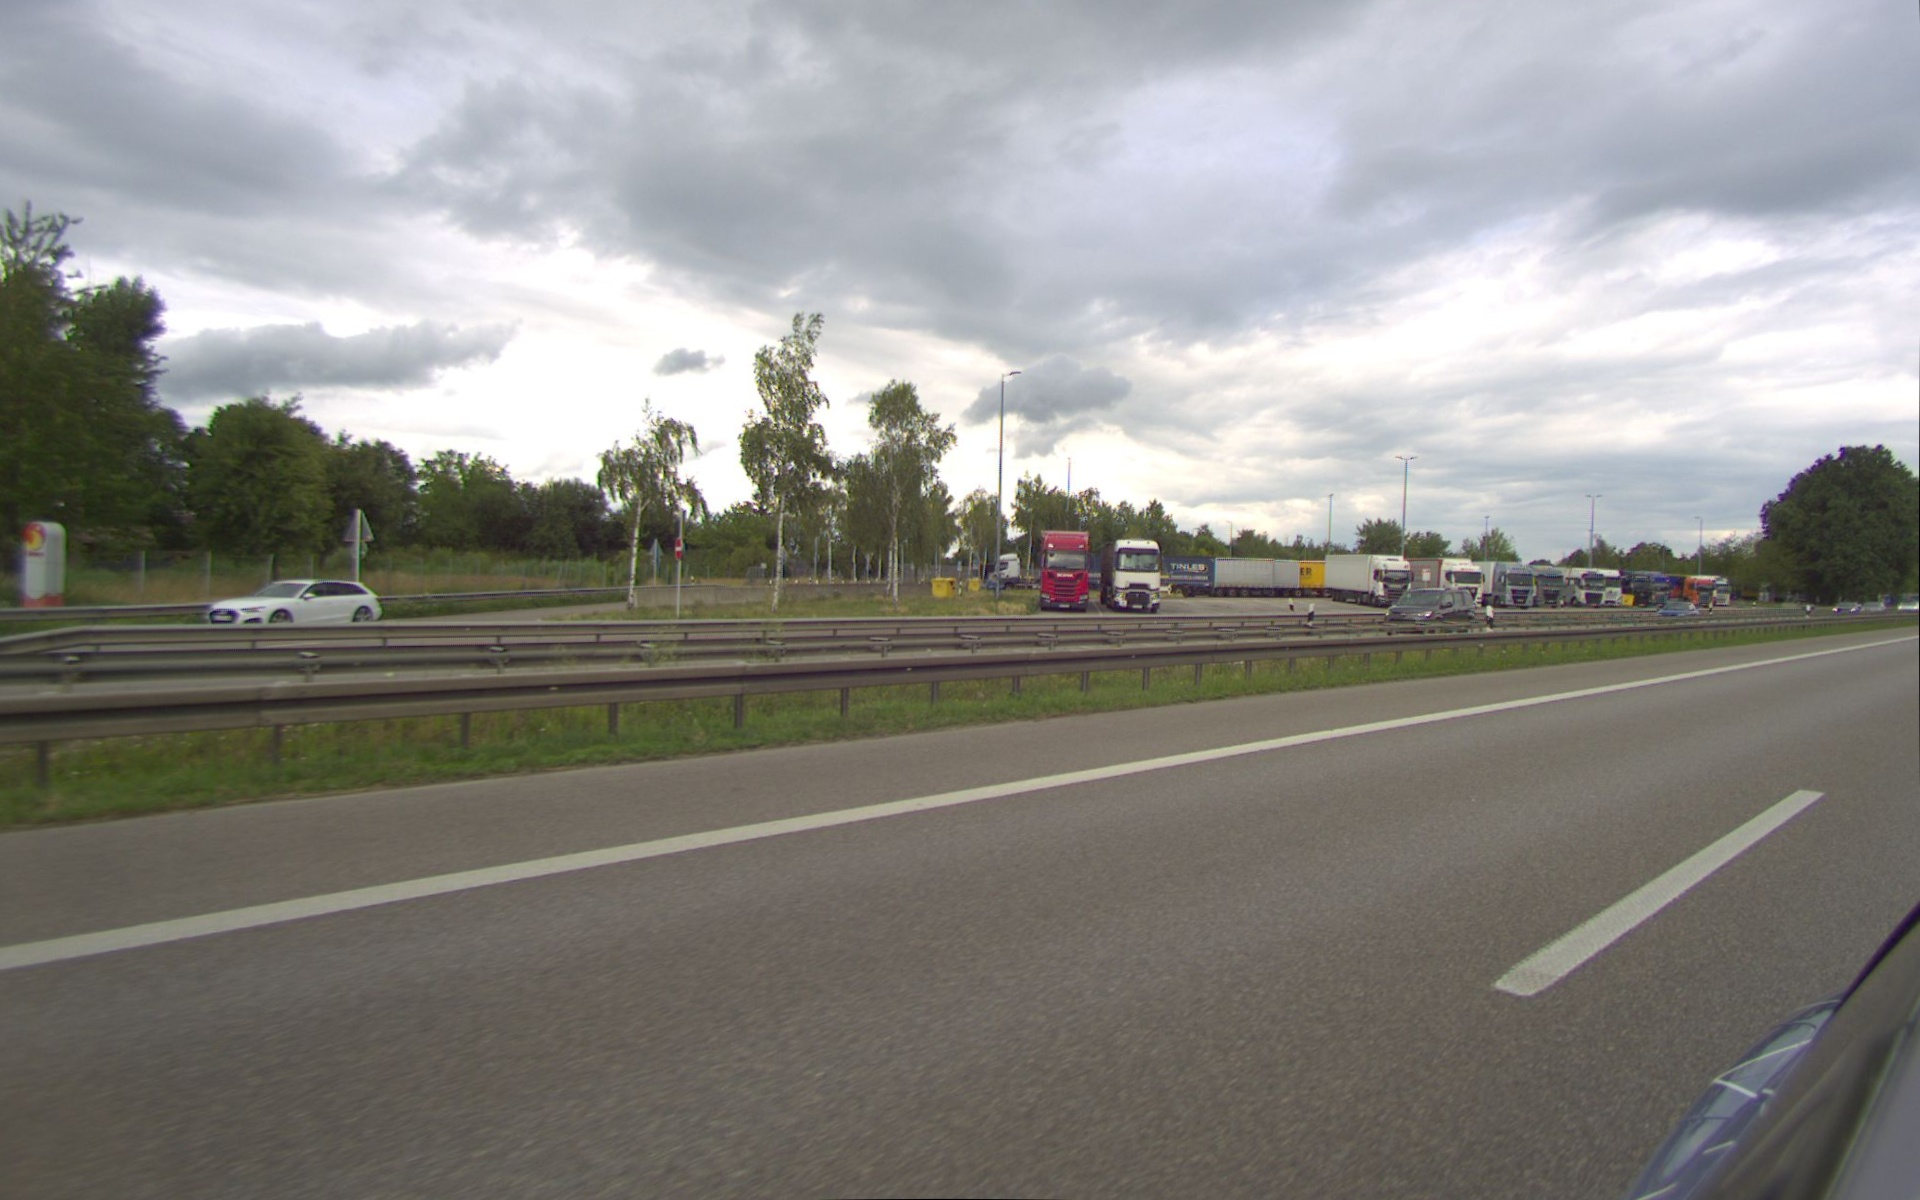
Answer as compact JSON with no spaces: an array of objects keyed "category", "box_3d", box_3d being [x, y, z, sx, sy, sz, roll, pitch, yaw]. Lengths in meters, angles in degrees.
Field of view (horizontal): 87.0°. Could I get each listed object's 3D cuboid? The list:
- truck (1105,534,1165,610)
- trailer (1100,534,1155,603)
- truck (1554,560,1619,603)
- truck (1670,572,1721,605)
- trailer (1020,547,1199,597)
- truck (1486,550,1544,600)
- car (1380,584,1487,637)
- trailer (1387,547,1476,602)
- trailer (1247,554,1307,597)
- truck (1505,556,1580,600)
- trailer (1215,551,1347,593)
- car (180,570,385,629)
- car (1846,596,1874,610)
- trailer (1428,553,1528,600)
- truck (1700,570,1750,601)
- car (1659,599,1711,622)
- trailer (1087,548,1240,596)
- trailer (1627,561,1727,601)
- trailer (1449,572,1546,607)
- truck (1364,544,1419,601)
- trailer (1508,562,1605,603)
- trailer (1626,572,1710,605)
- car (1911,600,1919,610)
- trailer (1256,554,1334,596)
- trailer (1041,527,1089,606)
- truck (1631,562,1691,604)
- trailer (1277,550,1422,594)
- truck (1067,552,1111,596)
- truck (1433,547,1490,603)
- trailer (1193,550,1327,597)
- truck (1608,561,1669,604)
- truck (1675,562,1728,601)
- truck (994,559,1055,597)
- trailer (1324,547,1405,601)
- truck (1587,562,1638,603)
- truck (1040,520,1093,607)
[{"category":"truck","box_3d":[9.454,-1.513,55.261,2.709,3.898,6.384,1,1,6]},{"category":"trailer","box_3d":[10.407,-1.943,63.983,2.701,3.889,13.187,1,1,6]},{"category":"truck","box_3d":[63.591,-1.807,102.946,2.836,4.187,6.959,0,0,7]},{"category":"truck","box_3d":[94.101,-1.457,129.585,2.623,4.201,5.920,0,0,6]},{"category":"trailer","box_3d":[13.731,-2.581,93.982,16.200,4.444,2.634,0,0,2]},{"category":"truck","box_3d":[48.197,-2.105,88.048,2.593,4.184,4.790,0,0,4]},{"category":"car","box_3d":[17.237,0.343,36.769,4.513,1.779,1.831,0,1,-41]},{"category":"trailer","box_3d":[41.284,-2.059,89.317,2.434,4.451,14.121,0,0,5]},{"category":"trailer","box_3d":[33.012,-2.559,105.611,5.531,4.349,1.999,1,1,2]},{"category":"truck","box_3d":[56.452,-2.075,98.354,3.486,4.136,7.642,0,0,6]},{"category":"trailer","box_3d":[37.732,-3.228,119.262,14.394,4.701,3.155,0,0,5]},{"category":"car","box_3d":[-18.430,-0.016,27.861,1.968,1.486,4.768,0,0,10]},{"category":"car","box_3d":[85.247,0.254,95.870,3.930,1.230,1.465,0,1,-41]},{"category":"trailer","box_3d":[48.669,-2.054,95.815,2.610,4.136,14.683,0,0,3]},{"category":"truck","box_3d":[104.001,-1.936,137.721,2.781,4.112,6.429,0,0,10]},{"category":"car","box_3d":[42.918,0.589,59.890,3.484,1.274,1.795,0,0,-41]},{"category":"trailer","box_3d":[19.393,-2.624,97.340,14.140,4.444,2.949,0,0,5]},{"category":"trailer","box_3d":[90.934,-2.270,128.880,2.814,4.737,15.786,0,0,6]},{"category":"trailer","box_3d":[52.845,-0.963,100.095,3.533,3.150,13.725,0,0,6]},{"category":"truck","box_3d":[32.733,-2.010,76.918,2.568,4.187,4.526,0,0,6]},{"category":"trailer","box_3d":[64.416,-1.785,109.923,2.805,4.157,15.860,0,0,7]},{"category":"trailer","box_3d":[94.749,-1.467,135.896,2.617,4.165,14.046,0,0,6]},{"category":"car","box_3d":[119.016,0.625,125.065,3.810,1.258,1.827,0,2,-41]},{"category":"trailer","box_3d":[36.102,-2.692,109.250,7.596,4.349,1.999,1,1,2]},{"category":"trailer","box_3d":[6.296,-1.908,60.591,2.553,4.278,11.092,0,1,6]},{"category":"truck","box_3d":[80.004,-1.899,115.650,3.007,4.615,6.076,0,0,6]},{"category":"trailer","box_3d":[43.202,-3.030,112.588,14.782,4.701,2.871,0,0,5]},{"category":"truck","box_3d":[12.450,-2.497,97.896,4.049,4.210,2.942,0,0,4]},{"category":"truck","box_3d":[40.657,-1.944,82.202,2.467,4.382,4.899,0,0,4]},{"category":"trailer","box_3d":[30.185,-2.680,102.166,12.642,4.336,2.629,2,0,3]},{"category":"truck","box_3d":[75.428,-1.925,112.683,3.113,4.615,6.076,0,0,6]},{"category":"truck","box_3d":[90.408,-2.210,123.468,2.827,4.683,5.165,0,0,5]},{"category":"truck","box_3d":[5.965,-2.025,94.309,5.527,3.483,2.656,0,0,3]},{"category":"trailer","box_3d":[33.481,-2.041,84.478,2.568,4.126,13.521,0,0,6]},{"category":"truck","box_3d":[67.956,-1.774,105.500,2.651,4.107,4.787,0,0,8]},{"category":"truck","box_3d":[5.563,-1.830,53.197,2.547,4.308,5.685,0,0,5]}]
